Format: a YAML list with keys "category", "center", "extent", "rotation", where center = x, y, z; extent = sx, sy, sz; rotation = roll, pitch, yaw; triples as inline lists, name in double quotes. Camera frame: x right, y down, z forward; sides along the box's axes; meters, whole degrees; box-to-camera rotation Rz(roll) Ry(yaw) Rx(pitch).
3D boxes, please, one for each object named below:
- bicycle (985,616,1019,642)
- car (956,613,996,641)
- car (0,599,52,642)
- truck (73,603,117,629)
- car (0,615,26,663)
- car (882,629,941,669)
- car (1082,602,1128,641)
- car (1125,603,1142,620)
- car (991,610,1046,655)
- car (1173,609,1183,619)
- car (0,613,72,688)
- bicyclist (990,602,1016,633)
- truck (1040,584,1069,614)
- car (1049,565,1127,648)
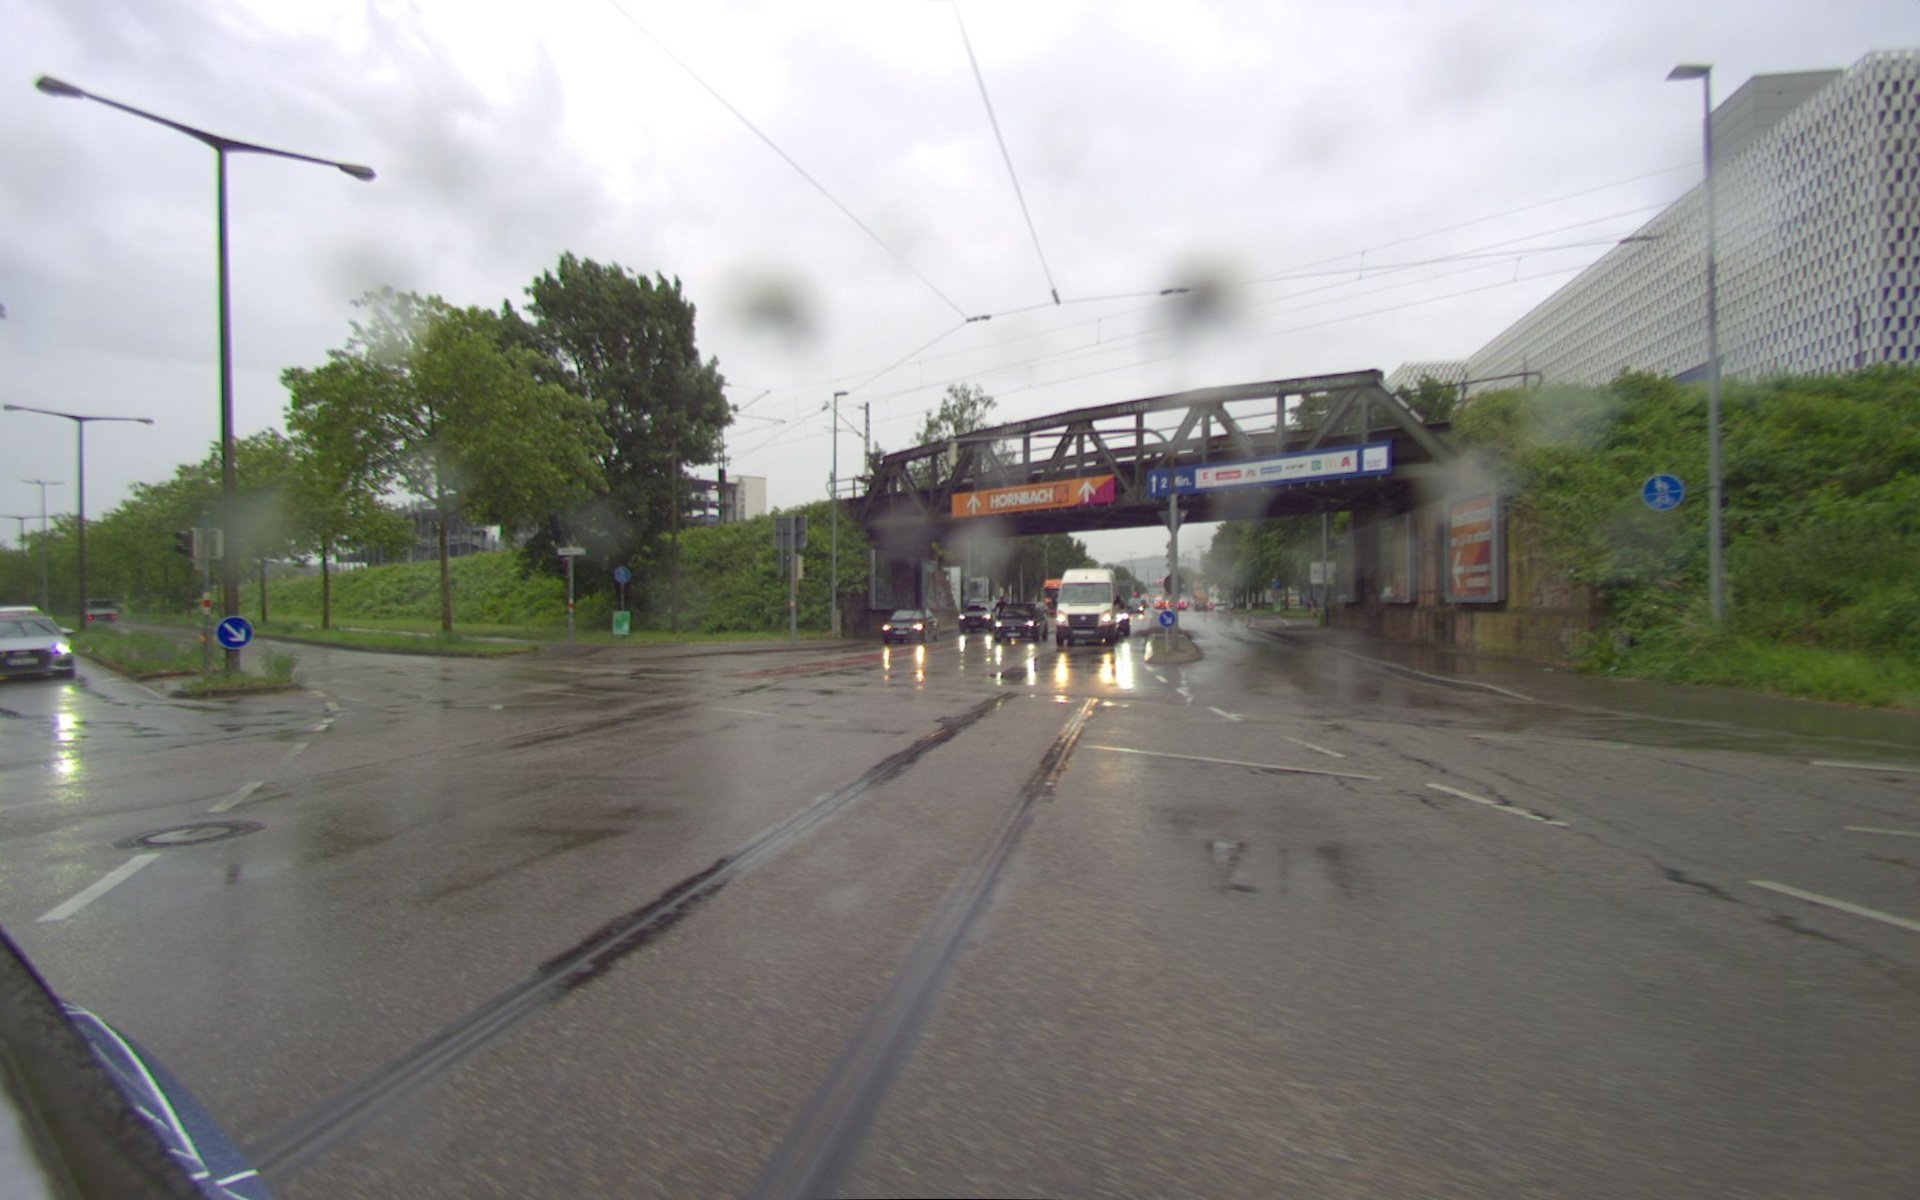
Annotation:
- category: "bicycle"
  center: [2.099, 1.382, 49.466]
  extent: [1.187, 1.213, 3.438]
  rotation: [0, -1, 11]
- category: "car"
  center: [0.927, 1.482, 55.836]
  extent: [1.673, 1.445, 4.137]
  rotation: [-1, -1, 8]
- category: "car"
  center: [-38.832, 0.827, 41.740]
  extent: [1.806, 1.624, 4.149]
  rotation: [-3, 2, -45]
- category: "truck"
  center: [-81.915, 1.487, 95.775]
  extent: [6.868, 2.383, 2.447]
  rotation: [-1, 0, 43]
- category: "car"
  center: [-31.897, 1.282, 33.226]
  extent: [1.700, 1.476, 4.095]
  rotation: [-3, 2, -44]
- category: "car"
  center: [-1.934, 1.976, 41.479]
  extent: [1.673, 1.445, 4.137]
  rotation: [-1, -1, 8]
- category: "car"
  center: [6.402, 0.903, 44.249]
  extent: [1.862, 1.612, 4.938]
  rotation: [0, 0, 10]
- category: "car"
  center: [17.038, 1.143, 99.408]
  extent: [1.637, 1.612, 3.897]
  rotation: [0, 0, 10]
- category: "car"
  center: [2.293, 1.202, 39.023]
  extent: [1.637, 1.612, 3.897]
  rotation: [0, 0, 10]
- category: "car"
  center: [39.220, 2.496, 182.109]
  extent: [1.637, 1.612, 3.897]
  rotation: [0, 0, 10]
- category: "car"
  center: [-22.330, 1.142, 23.873]
  extent: [1.749, 1.586, 4.824]
  rotation: [-3, 2, -45]
- category: "bicyclist"
  center: [2.096, 0.865, 49.471]
  extent: [1.140, 1.495, 1.053]
  rotation: [0, -1, 11]
- category: "truck"
  center: [9.860, -0.101, 104.801]
  extent: [2.523, 2.847, 8.165]
  rotation: [-3, 0, 8]
- category: "car"
  center: [4.675, 0.230, 35.916]
  extent: [2.361, 2.631, 6.955]
  rotation: [0, 0, 10]
